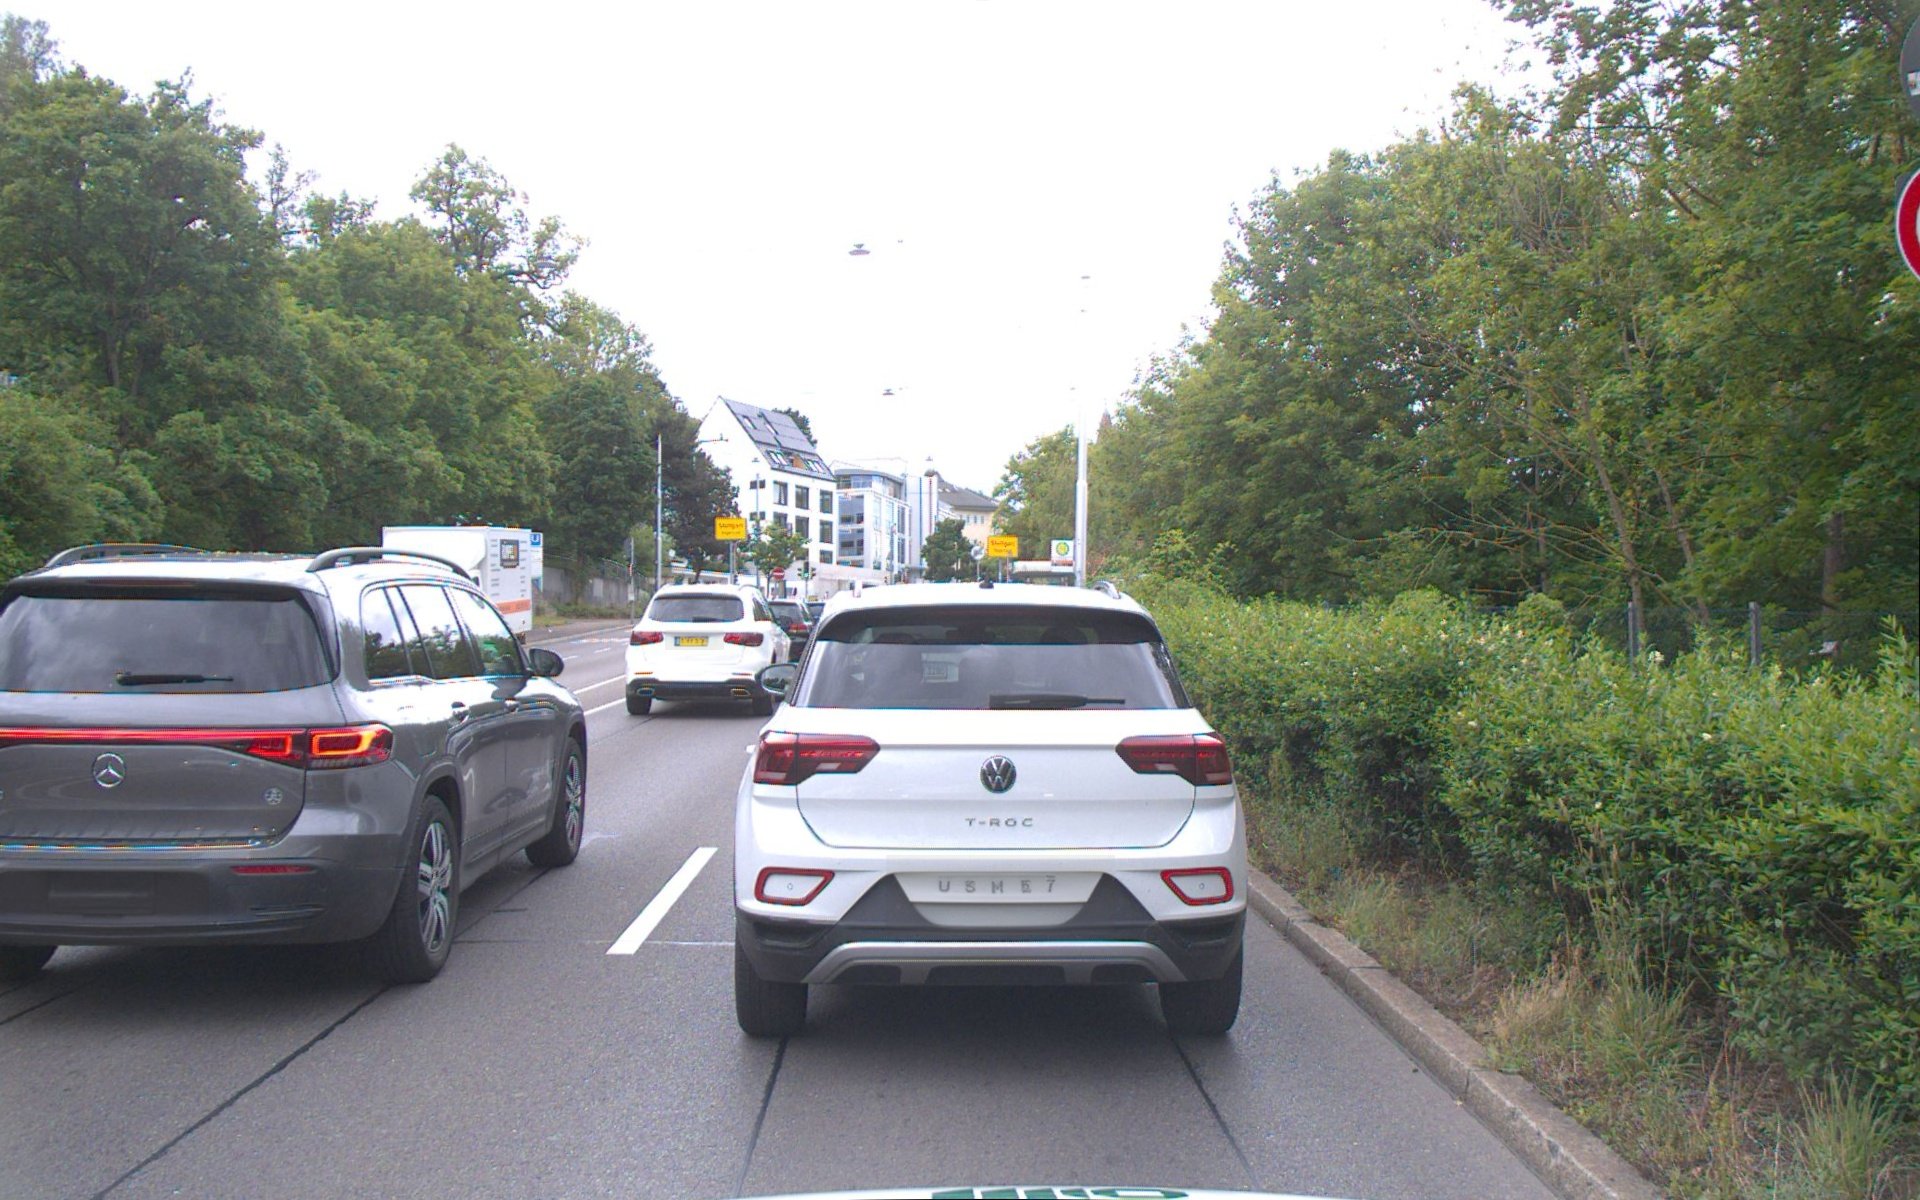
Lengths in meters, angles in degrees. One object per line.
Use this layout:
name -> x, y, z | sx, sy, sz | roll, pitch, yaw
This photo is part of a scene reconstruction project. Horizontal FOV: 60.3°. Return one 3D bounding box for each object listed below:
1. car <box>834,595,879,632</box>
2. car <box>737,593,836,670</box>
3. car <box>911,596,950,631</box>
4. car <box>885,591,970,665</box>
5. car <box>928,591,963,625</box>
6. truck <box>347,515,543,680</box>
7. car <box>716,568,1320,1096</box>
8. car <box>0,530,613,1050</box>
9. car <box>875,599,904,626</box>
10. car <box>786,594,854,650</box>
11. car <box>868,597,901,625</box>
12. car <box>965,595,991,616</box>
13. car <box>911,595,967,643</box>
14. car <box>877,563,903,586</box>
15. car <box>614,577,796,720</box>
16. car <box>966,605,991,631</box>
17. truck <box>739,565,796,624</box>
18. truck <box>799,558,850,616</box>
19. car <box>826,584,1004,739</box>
car -> -4.550, 0.590, 73.108 | 1.792, 1.552, 3.999 | -1, 0, -2
car -> -3.655, 0.639, 35.394 | 1.792, 1.523, 3.999 | -1, 0, -2
car -> -1.417, 0.608, 77.914 | 1.792, 1.552, 3.999 | -1, 0, -2
car -> -0.752, 0.598, 37.544 | 1.792, 1.552, 3.999 | -1, 0, -2
car -> -0.891, 0.466, 99.212 | 1.954, 2.004, 3.998 | -1, 0, -3
truck -> -10.712, -0.041, 35.057 | 2.247, 3.104, 6.975 | -1, 0, -3
car -> 0.122, 0.680, 6.911 | 1.792, 1.552, 3.999 | 0, 0, -2
car -> -2.868, 0.610, 7.541 | 1.812, 1.680, 4.355 | 0, 0, -2
car -> -4.643, 0.821, 109.226 | 1.778, 1.685, 3.927 | -1, 0, -2
car -> -4.106, 0.628, 49.011 | 1.792, 1.552, 3.999 | -1, 0, -2
car -> -4.370, 0.612, 95.917 | 1.792, 1.552, 3.999 | -1, 0, -2
car -> 1.376, 0.427, 126.535 | 1.792, 1.552, 3.999 | -1, 0, -2
car -> -0.728, 0.613, 55.745 | 1.792, 1.552, 3.999 | -1, 0, -2
car -> -4.910, -1.796, 116.269 | 1.792, 1.552, 3.999 | -1, 0, -2
car -> -3.267, 0.582, 21.913 | 1.879, 1.698, 3.999 | 1, 0, -2
car -> 1.548, 1.513, 138.775 | 1.953, 2.049, 3.999 | -1, -1, 0
truck -> -9.339, -0.280, 80.622 | 2.315, 2.754, 4.476 | -1, 0, -2
truck -> -6.926, -0.652, 85.134 | 2.315, 2.830, 4.476 | -1, 0, -2
car -> -0.514, 0.619, 18.890 | 1.792, 1.552, 3.999 | -1, 0, -2
